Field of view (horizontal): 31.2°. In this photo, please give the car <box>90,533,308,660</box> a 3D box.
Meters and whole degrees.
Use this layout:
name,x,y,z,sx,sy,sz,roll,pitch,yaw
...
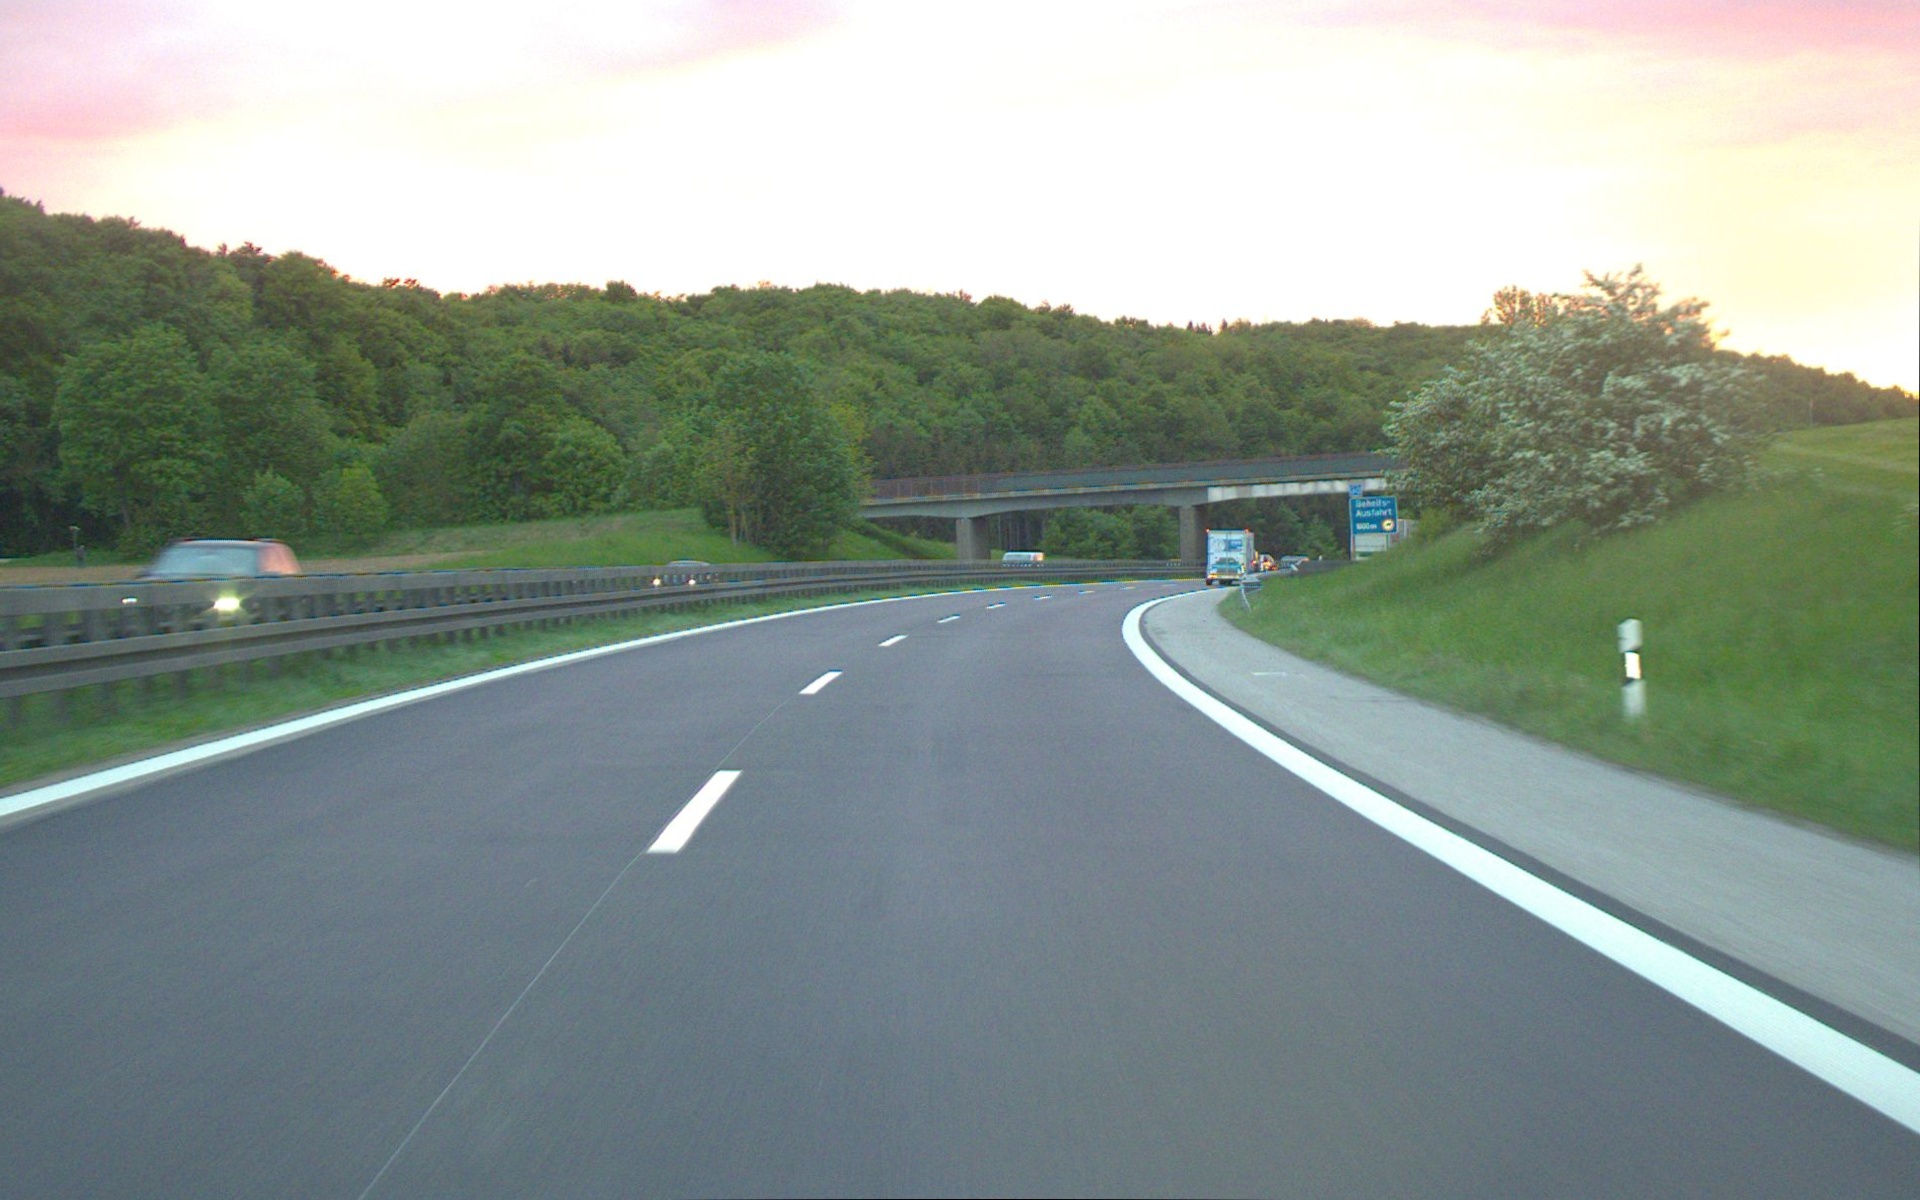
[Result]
name,x,y,z,sx,sy,sz,roll,pitch,yaw
car,-10.954,-0.074,49.808,1.993,1.721,4.770,1,1,1

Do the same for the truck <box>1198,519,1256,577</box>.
name,x,y,z,sx,sy,sz,roll,pitch,yaw
truck,12.912,-2.538,165.785,2.277,2.656,5.234,-2,2,9

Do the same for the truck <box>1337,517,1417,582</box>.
name,x,y,z,sx,sy,sz,roll,pitch,yaw
truck,28.540,-3.442,234.501,3.960,4.272,14.315,0,1,13
